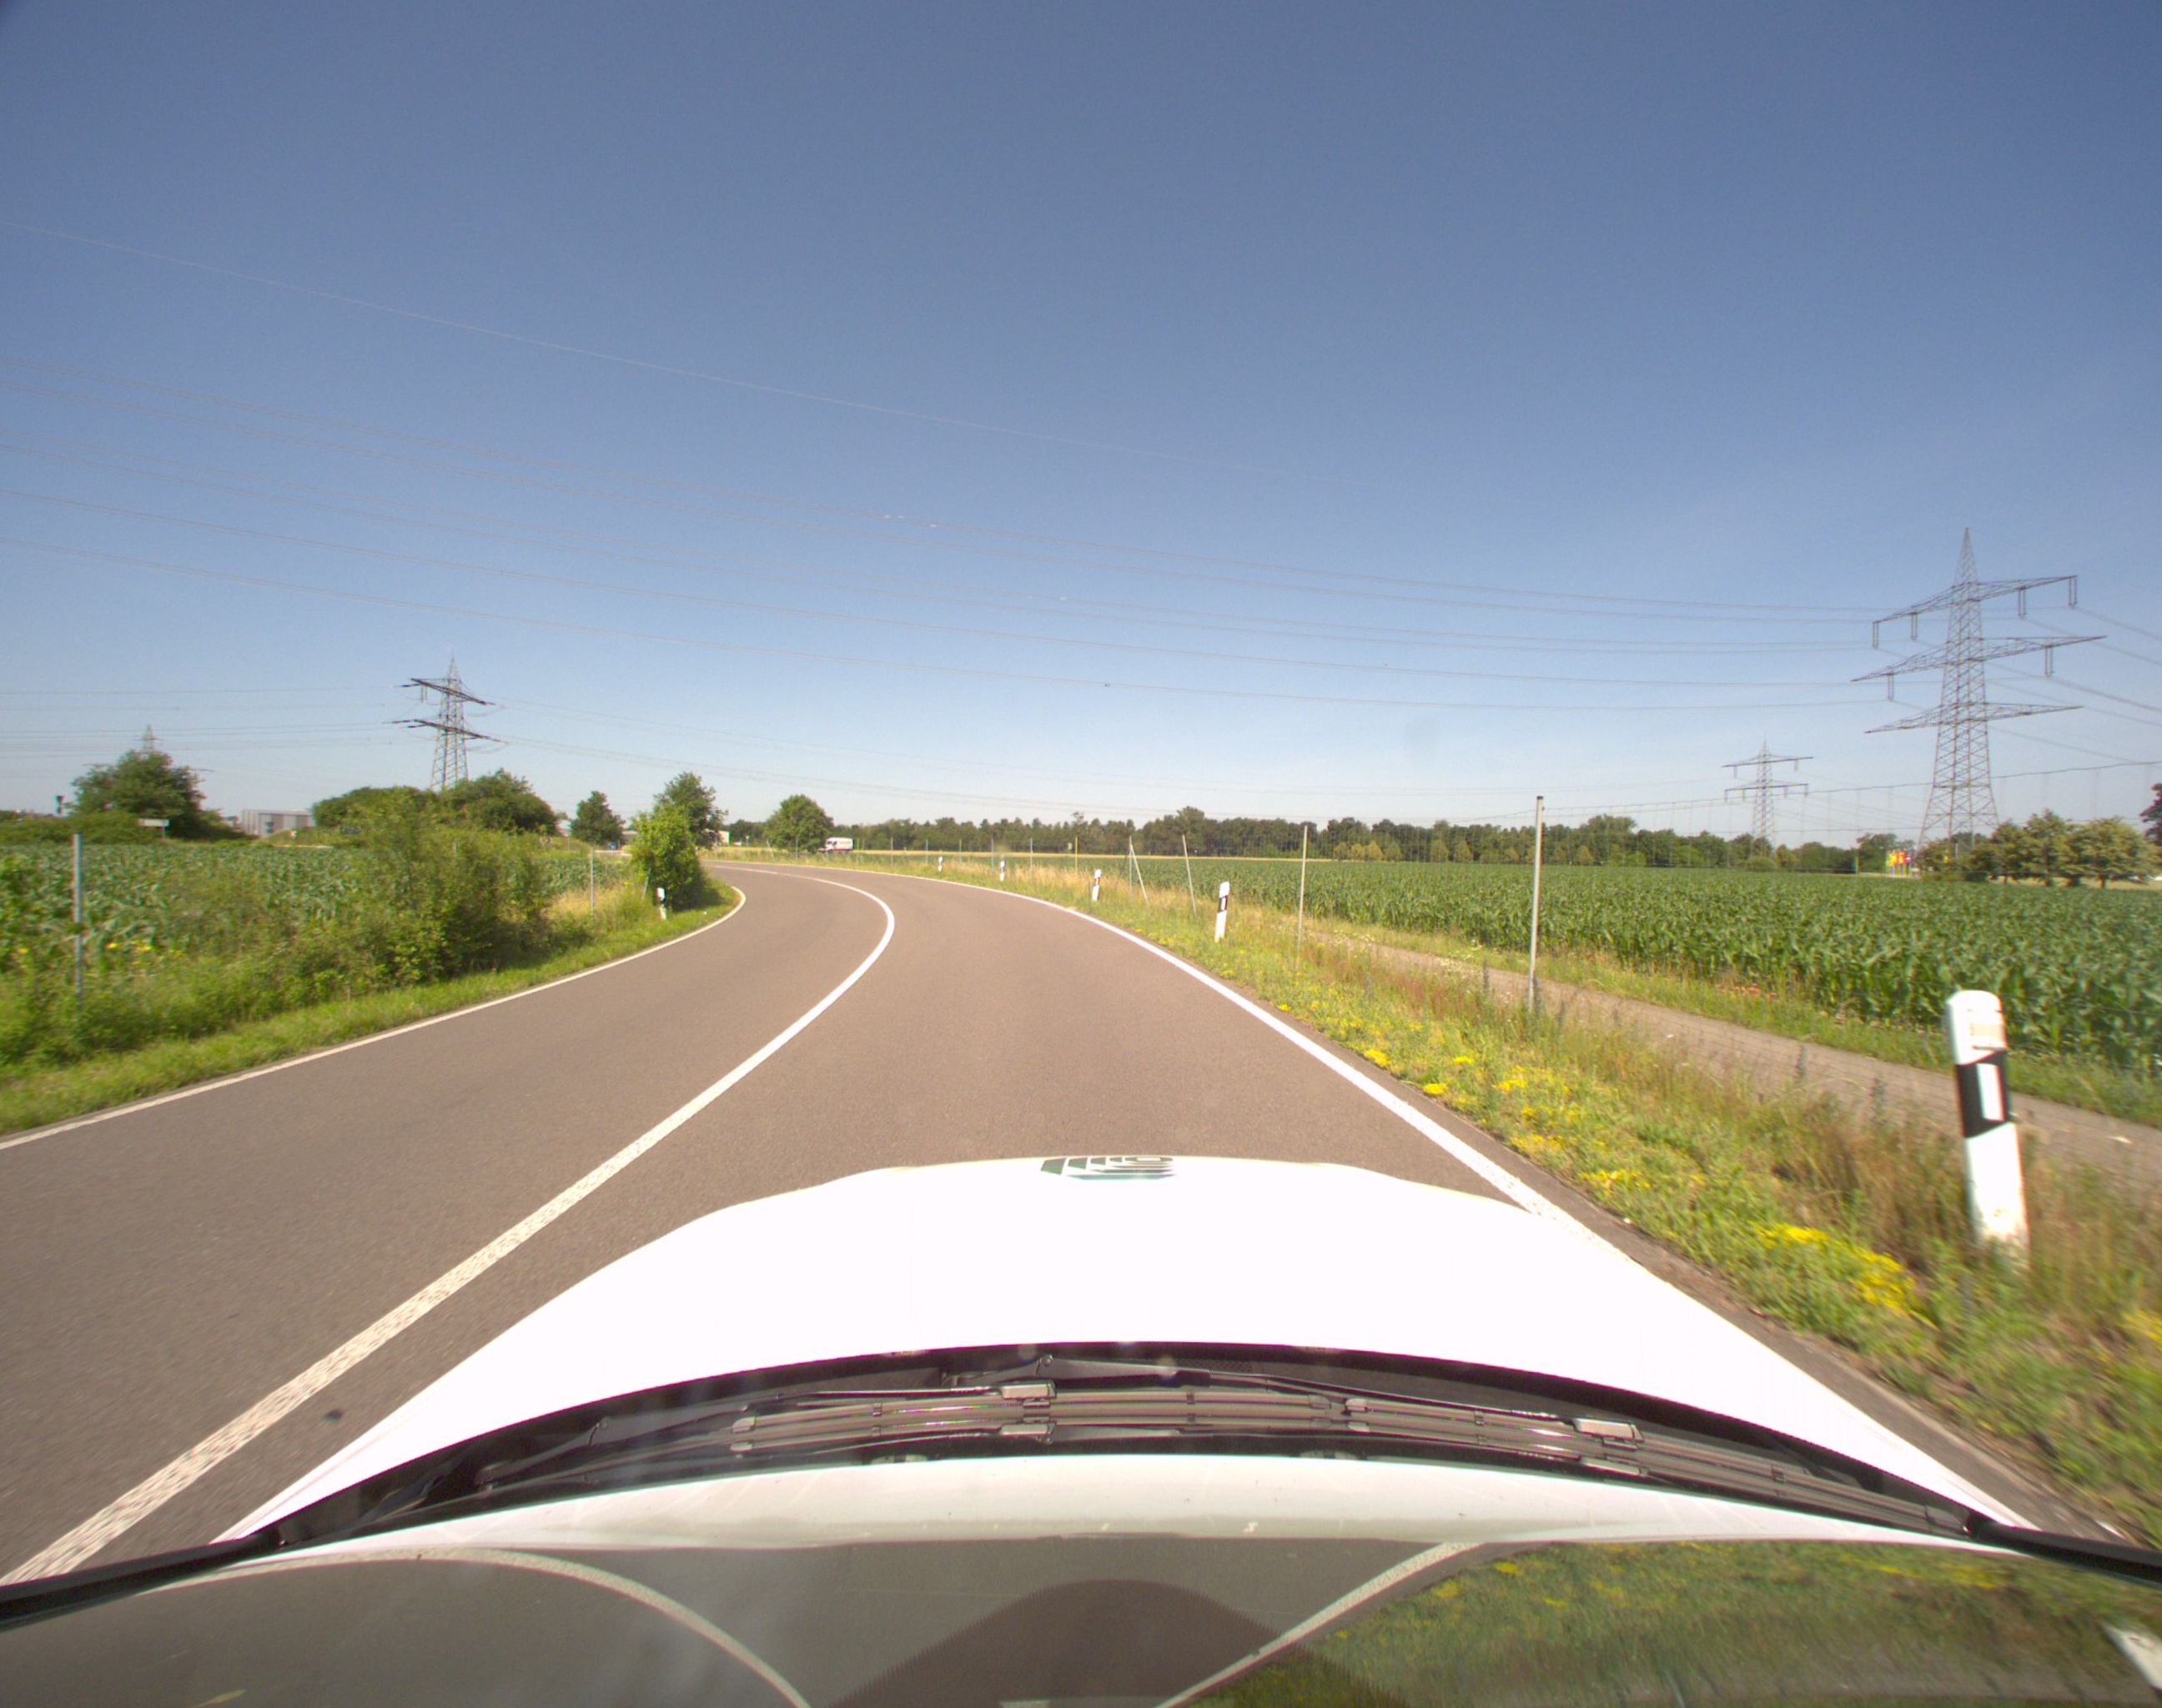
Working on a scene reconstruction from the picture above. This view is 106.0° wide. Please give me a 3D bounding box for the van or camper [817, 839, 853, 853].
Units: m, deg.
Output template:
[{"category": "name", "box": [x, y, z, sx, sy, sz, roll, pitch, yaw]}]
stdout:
[{"category": "van or camper", "box": [-40.796, -1.296, 135.263, 1.974, 2.266, 5.805, 1, 0, 30]}]
